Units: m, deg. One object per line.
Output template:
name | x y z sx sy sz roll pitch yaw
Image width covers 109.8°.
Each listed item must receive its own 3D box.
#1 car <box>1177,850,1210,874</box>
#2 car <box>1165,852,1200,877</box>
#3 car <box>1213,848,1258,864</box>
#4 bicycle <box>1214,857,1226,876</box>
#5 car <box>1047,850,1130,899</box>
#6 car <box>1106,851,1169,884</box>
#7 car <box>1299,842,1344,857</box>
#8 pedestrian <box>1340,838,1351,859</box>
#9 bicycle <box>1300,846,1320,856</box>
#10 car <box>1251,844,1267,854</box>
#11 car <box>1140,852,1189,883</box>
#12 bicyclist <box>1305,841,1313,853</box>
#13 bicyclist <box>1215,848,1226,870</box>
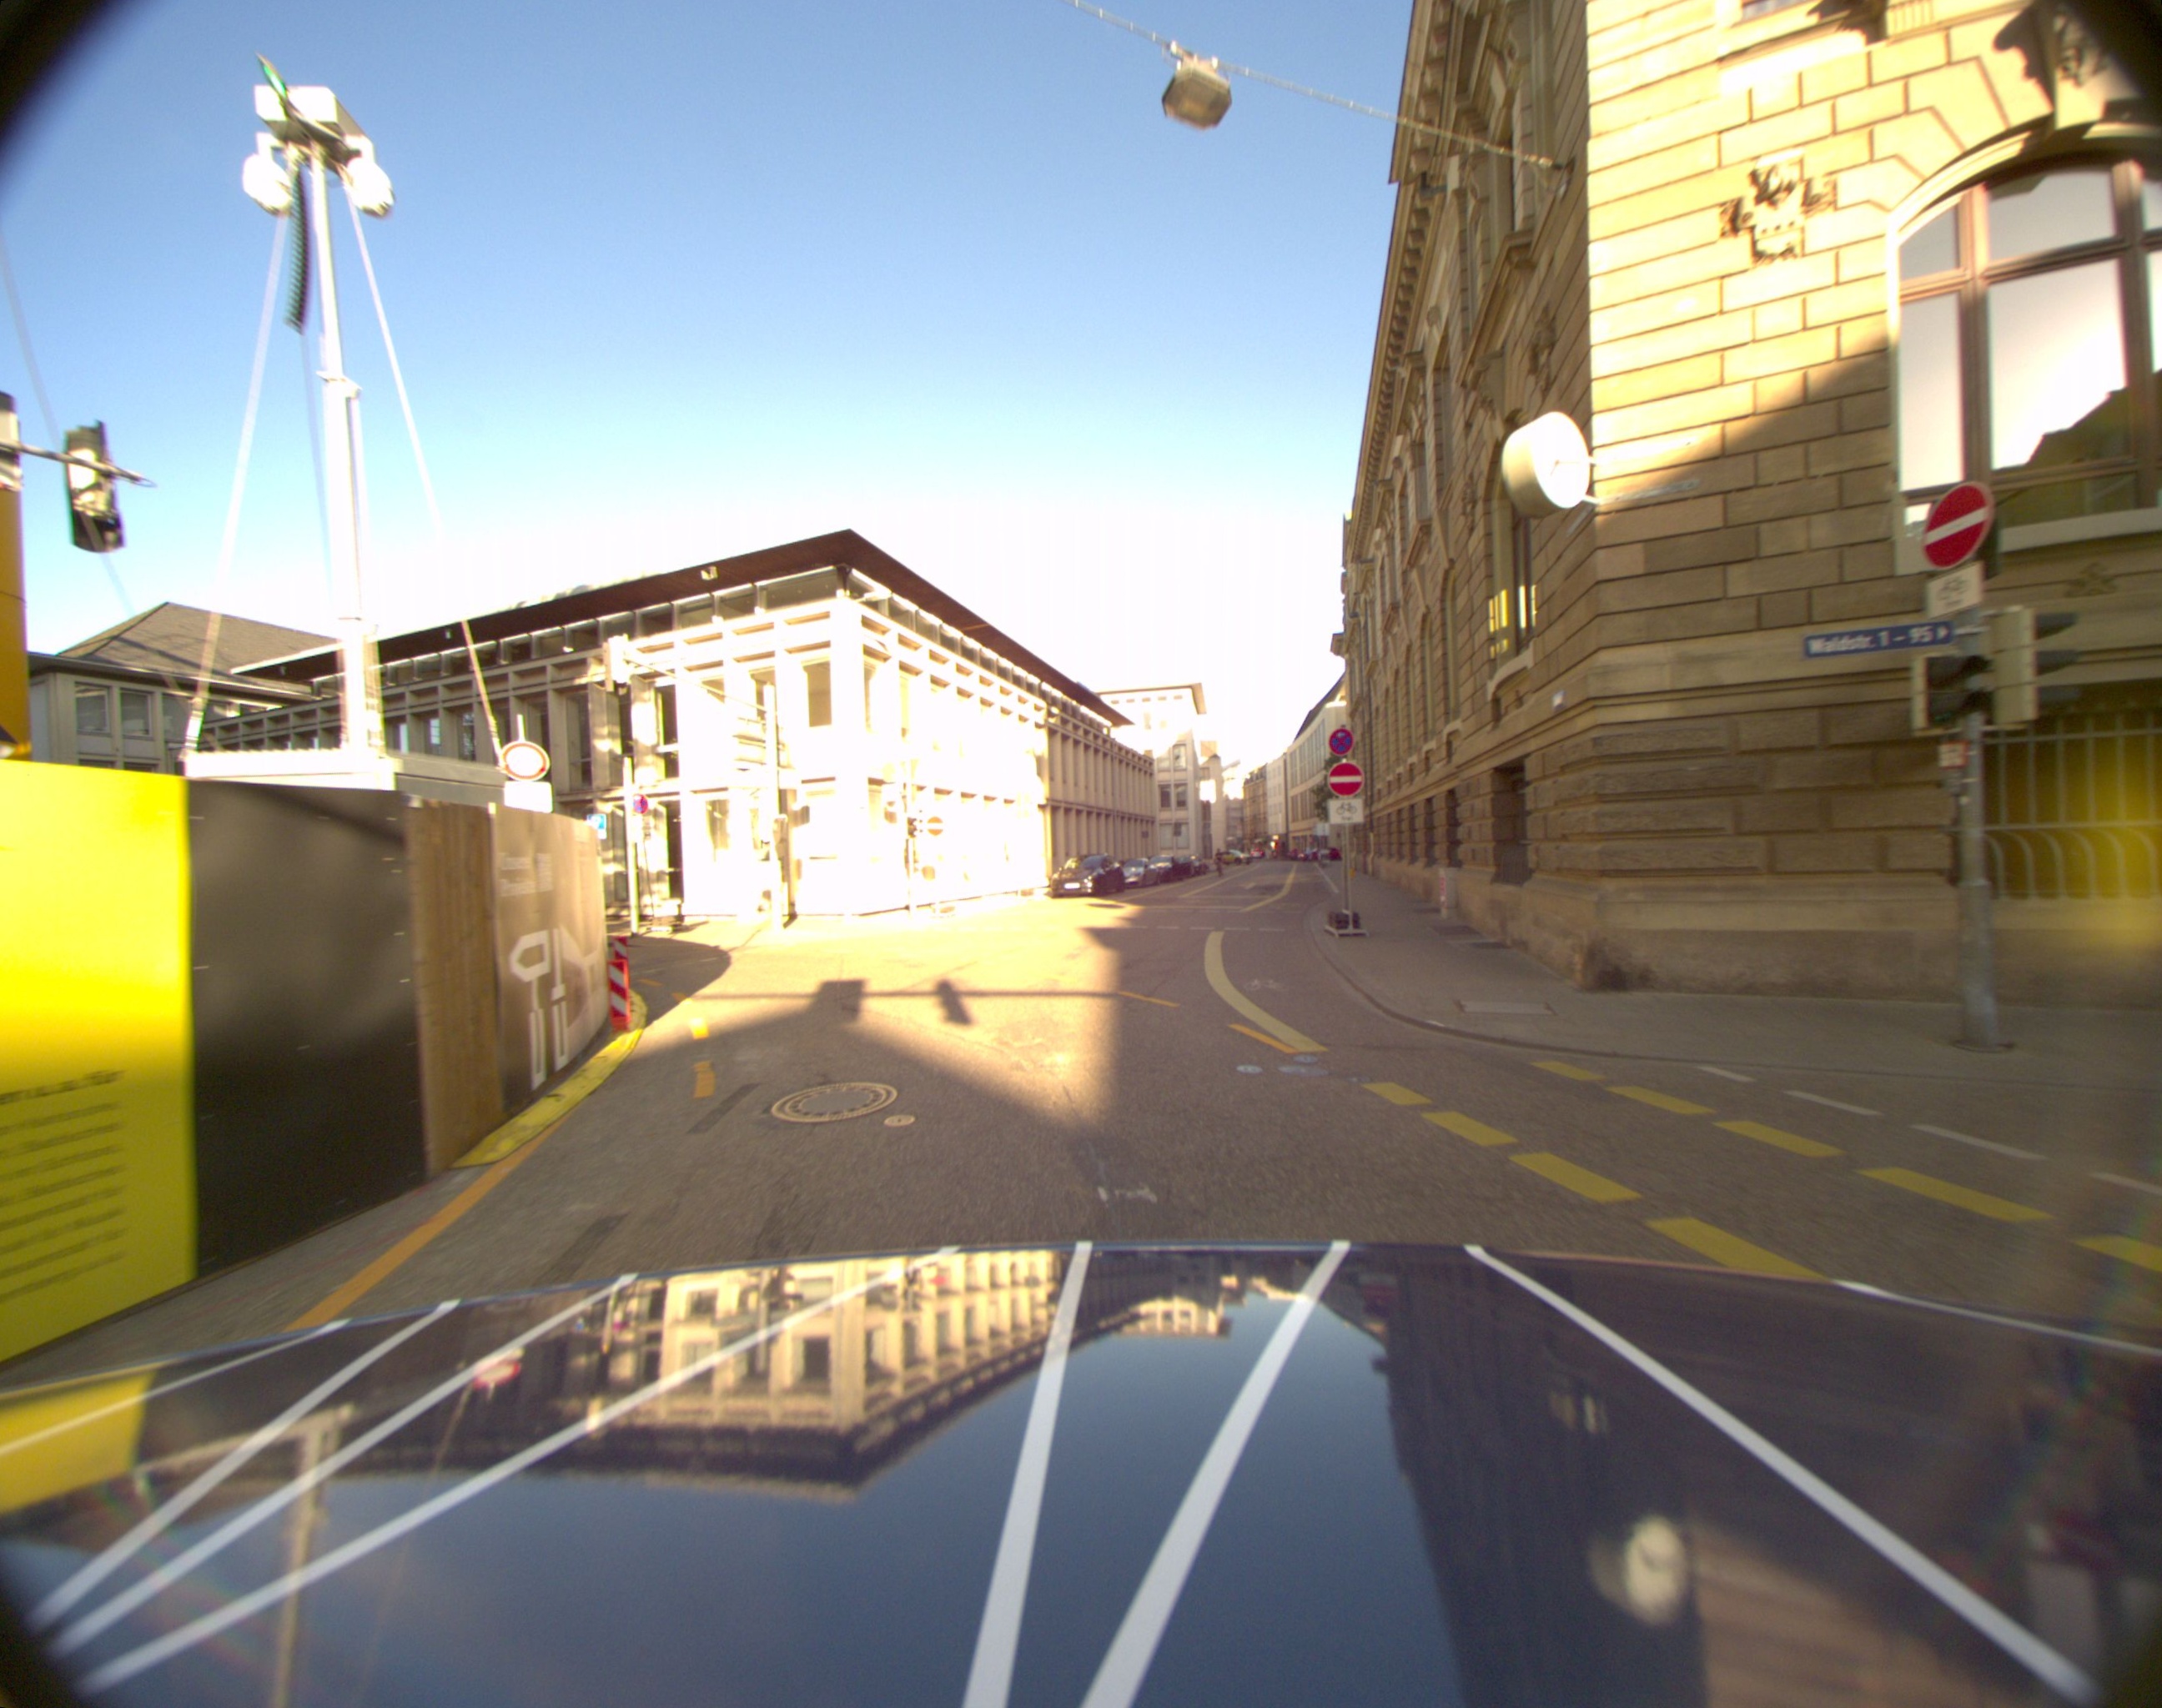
car | 7.809 0.505 52.371 1.696 1.483 4.259 -2 0 16
car | 6.360 0.627 47.198 1.630 1.391 3.890 -2 0 15
car | 15.957 0.212 78.801 1.859 1.483 4.243 -3 1 -41
bicycle | 8.196 0.734 44.697 0.534 1.060 1.427 -2 1 15
car | 0.397 0.741 29.343 1.896 1.614 4.626 -2 0 17
car | 2.748 0.605 35.934 1.699 1.336 4.604 -2 0 20
car | 25.999 -0.495 82.246 4.267 1.462 1.633 -2 1 4
pedestrian | 22.575 -0.456 64.844 0.764 1.769 0.623 -2 1 17
bicycle | 23.717 -0.350 78.772 1.870 0.905 0.535 -3 7 11
car | 29.664 -0.861 126.651 2.053 1.482 4.273 -2 0 5
car | 4.626 0.684 41.415 1.699 1.462 4.797 -2 0 17
bicyclist | 23.643 -0.717 78.780 0.612 1.281 0.539 -2 1 11
bicyclist | 8.202 0.281 44.770 0.537 1.281 0.552 -2 1 14
